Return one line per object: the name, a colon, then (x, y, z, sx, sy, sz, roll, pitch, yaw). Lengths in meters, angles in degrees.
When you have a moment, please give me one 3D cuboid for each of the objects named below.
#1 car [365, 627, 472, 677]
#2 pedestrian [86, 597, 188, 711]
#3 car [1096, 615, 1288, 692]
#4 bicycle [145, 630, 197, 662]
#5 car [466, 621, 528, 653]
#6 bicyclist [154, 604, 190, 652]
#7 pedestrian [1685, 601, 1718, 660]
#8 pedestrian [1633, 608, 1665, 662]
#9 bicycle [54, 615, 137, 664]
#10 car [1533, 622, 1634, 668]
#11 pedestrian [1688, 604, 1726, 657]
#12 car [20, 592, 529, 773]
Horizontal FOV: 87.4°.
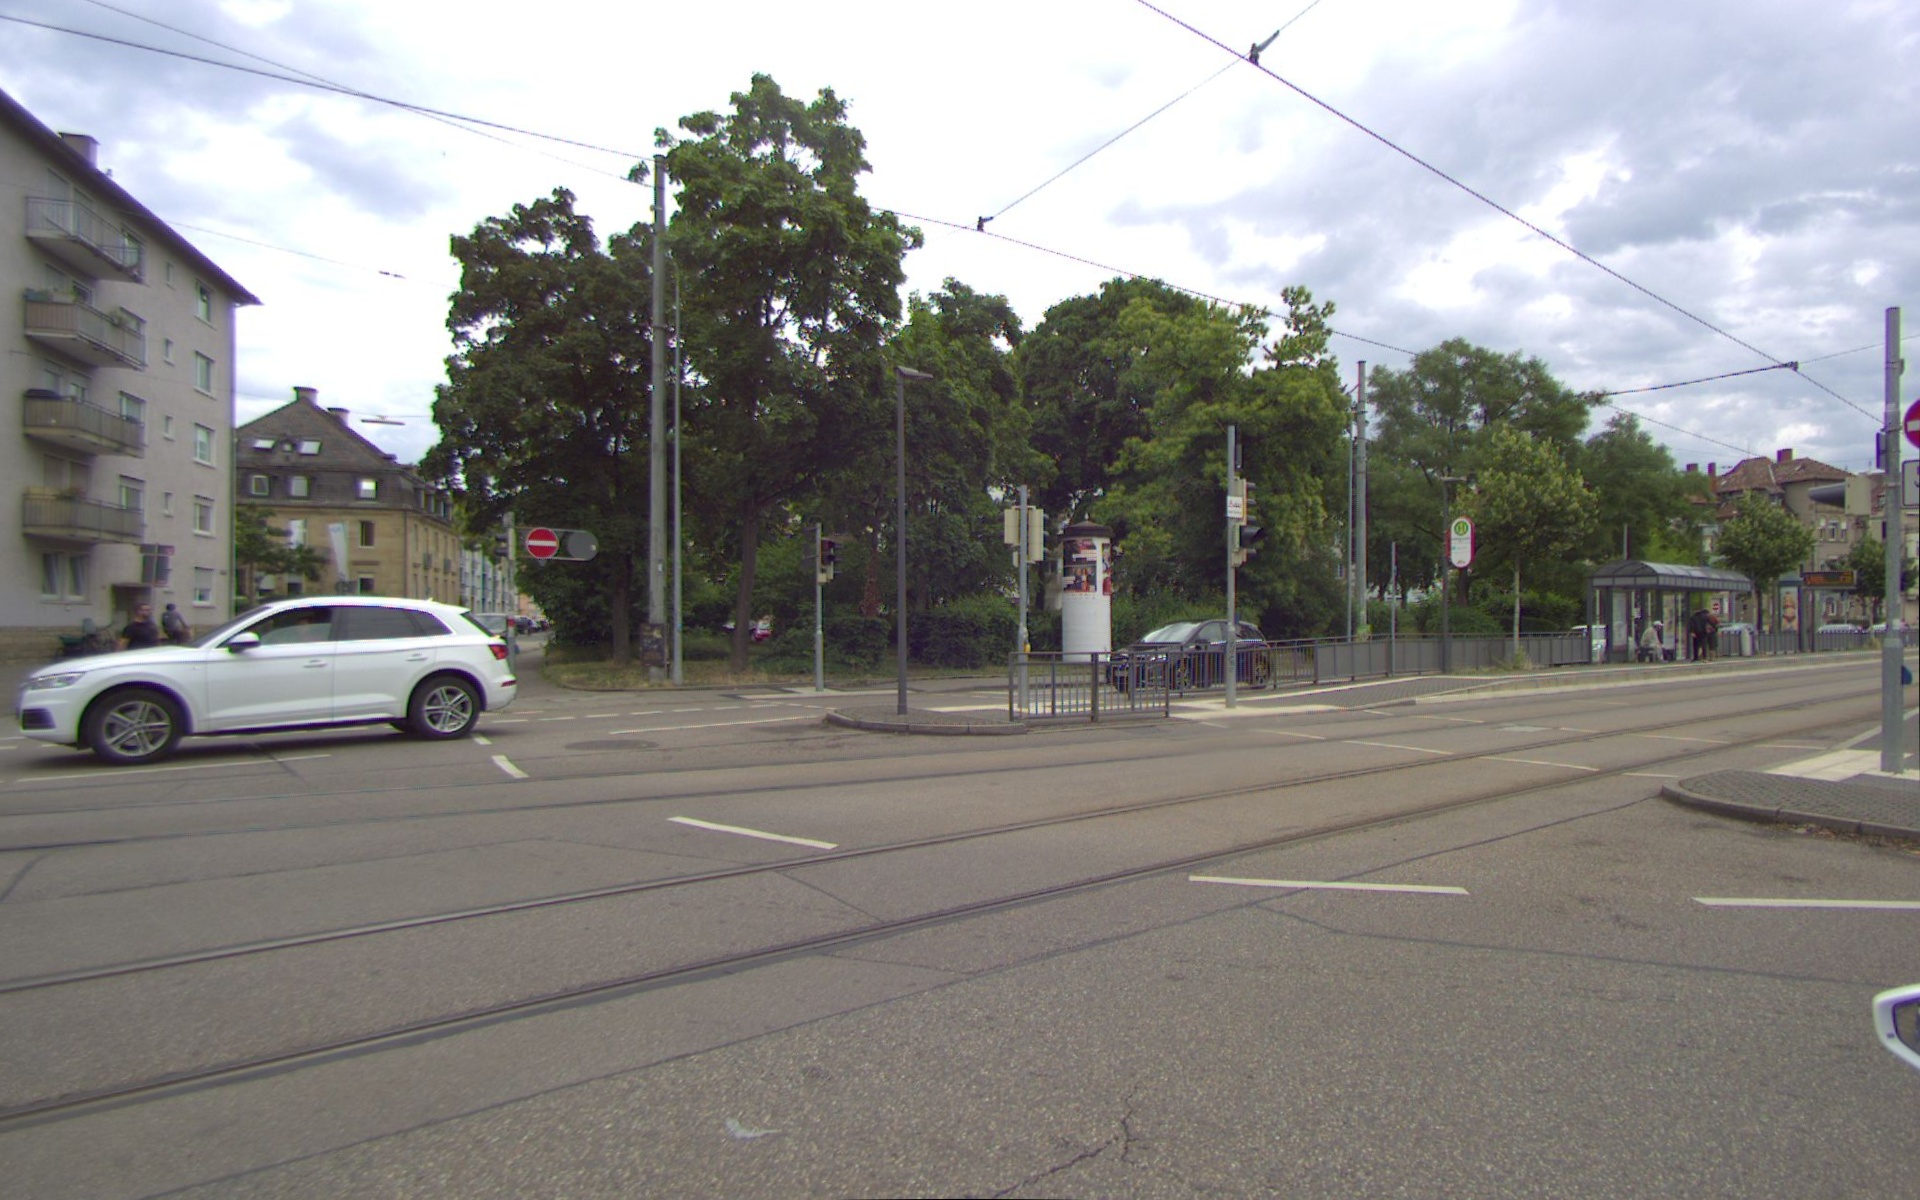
car: (-15.950, 1.490, 29.816, 1.967, 1.372, 4.023, 0, -1, -16)
pedestrian: (-14.054, 0.910, 17.171, 1.025, 1.899, 0.836, 0, -1, -1)
car: (5.111, 1.105, 21.798, 4.501, 1.513, 1.755, 2, -2, -41)
bicycle: (-26.242, 1.510, 33.431, 0.645, 1.016, 1.959, 0, -1, -16)
car: (-20.991, 1.654, 45.655, 1.967, 1.372, 4.023, 0, -1, -16)
bicyclist: (-26.250, 0.927, 33.464, 0.647, 1.585, 0.858, 0, -1, -16)
pedestrian: (22.350, 0.925, 30.269, 0.692, 1.738, 0.695, -1, -2, 45)
pedestrian: (21.347, 1.071, 31.116, 0.674, 1.645, 0.627, 1, -1, -40)
bicycle: (-27.692, 1.247, 32.252, 0.868, 1.485, 2.886, 0, -1, -16)
car: (21.843, 1.535, 35.145, 3.851, 1.513, 1.757, 1, -1, -37)
pedestrian: (24.182, 0.973, 32.514, 1.016, 1.682, 0.762, 1, -2, -40)
car: (-7.519, 0.816, 11.414, 4.502, 1.661, 1.755, 2, -2, -41)
